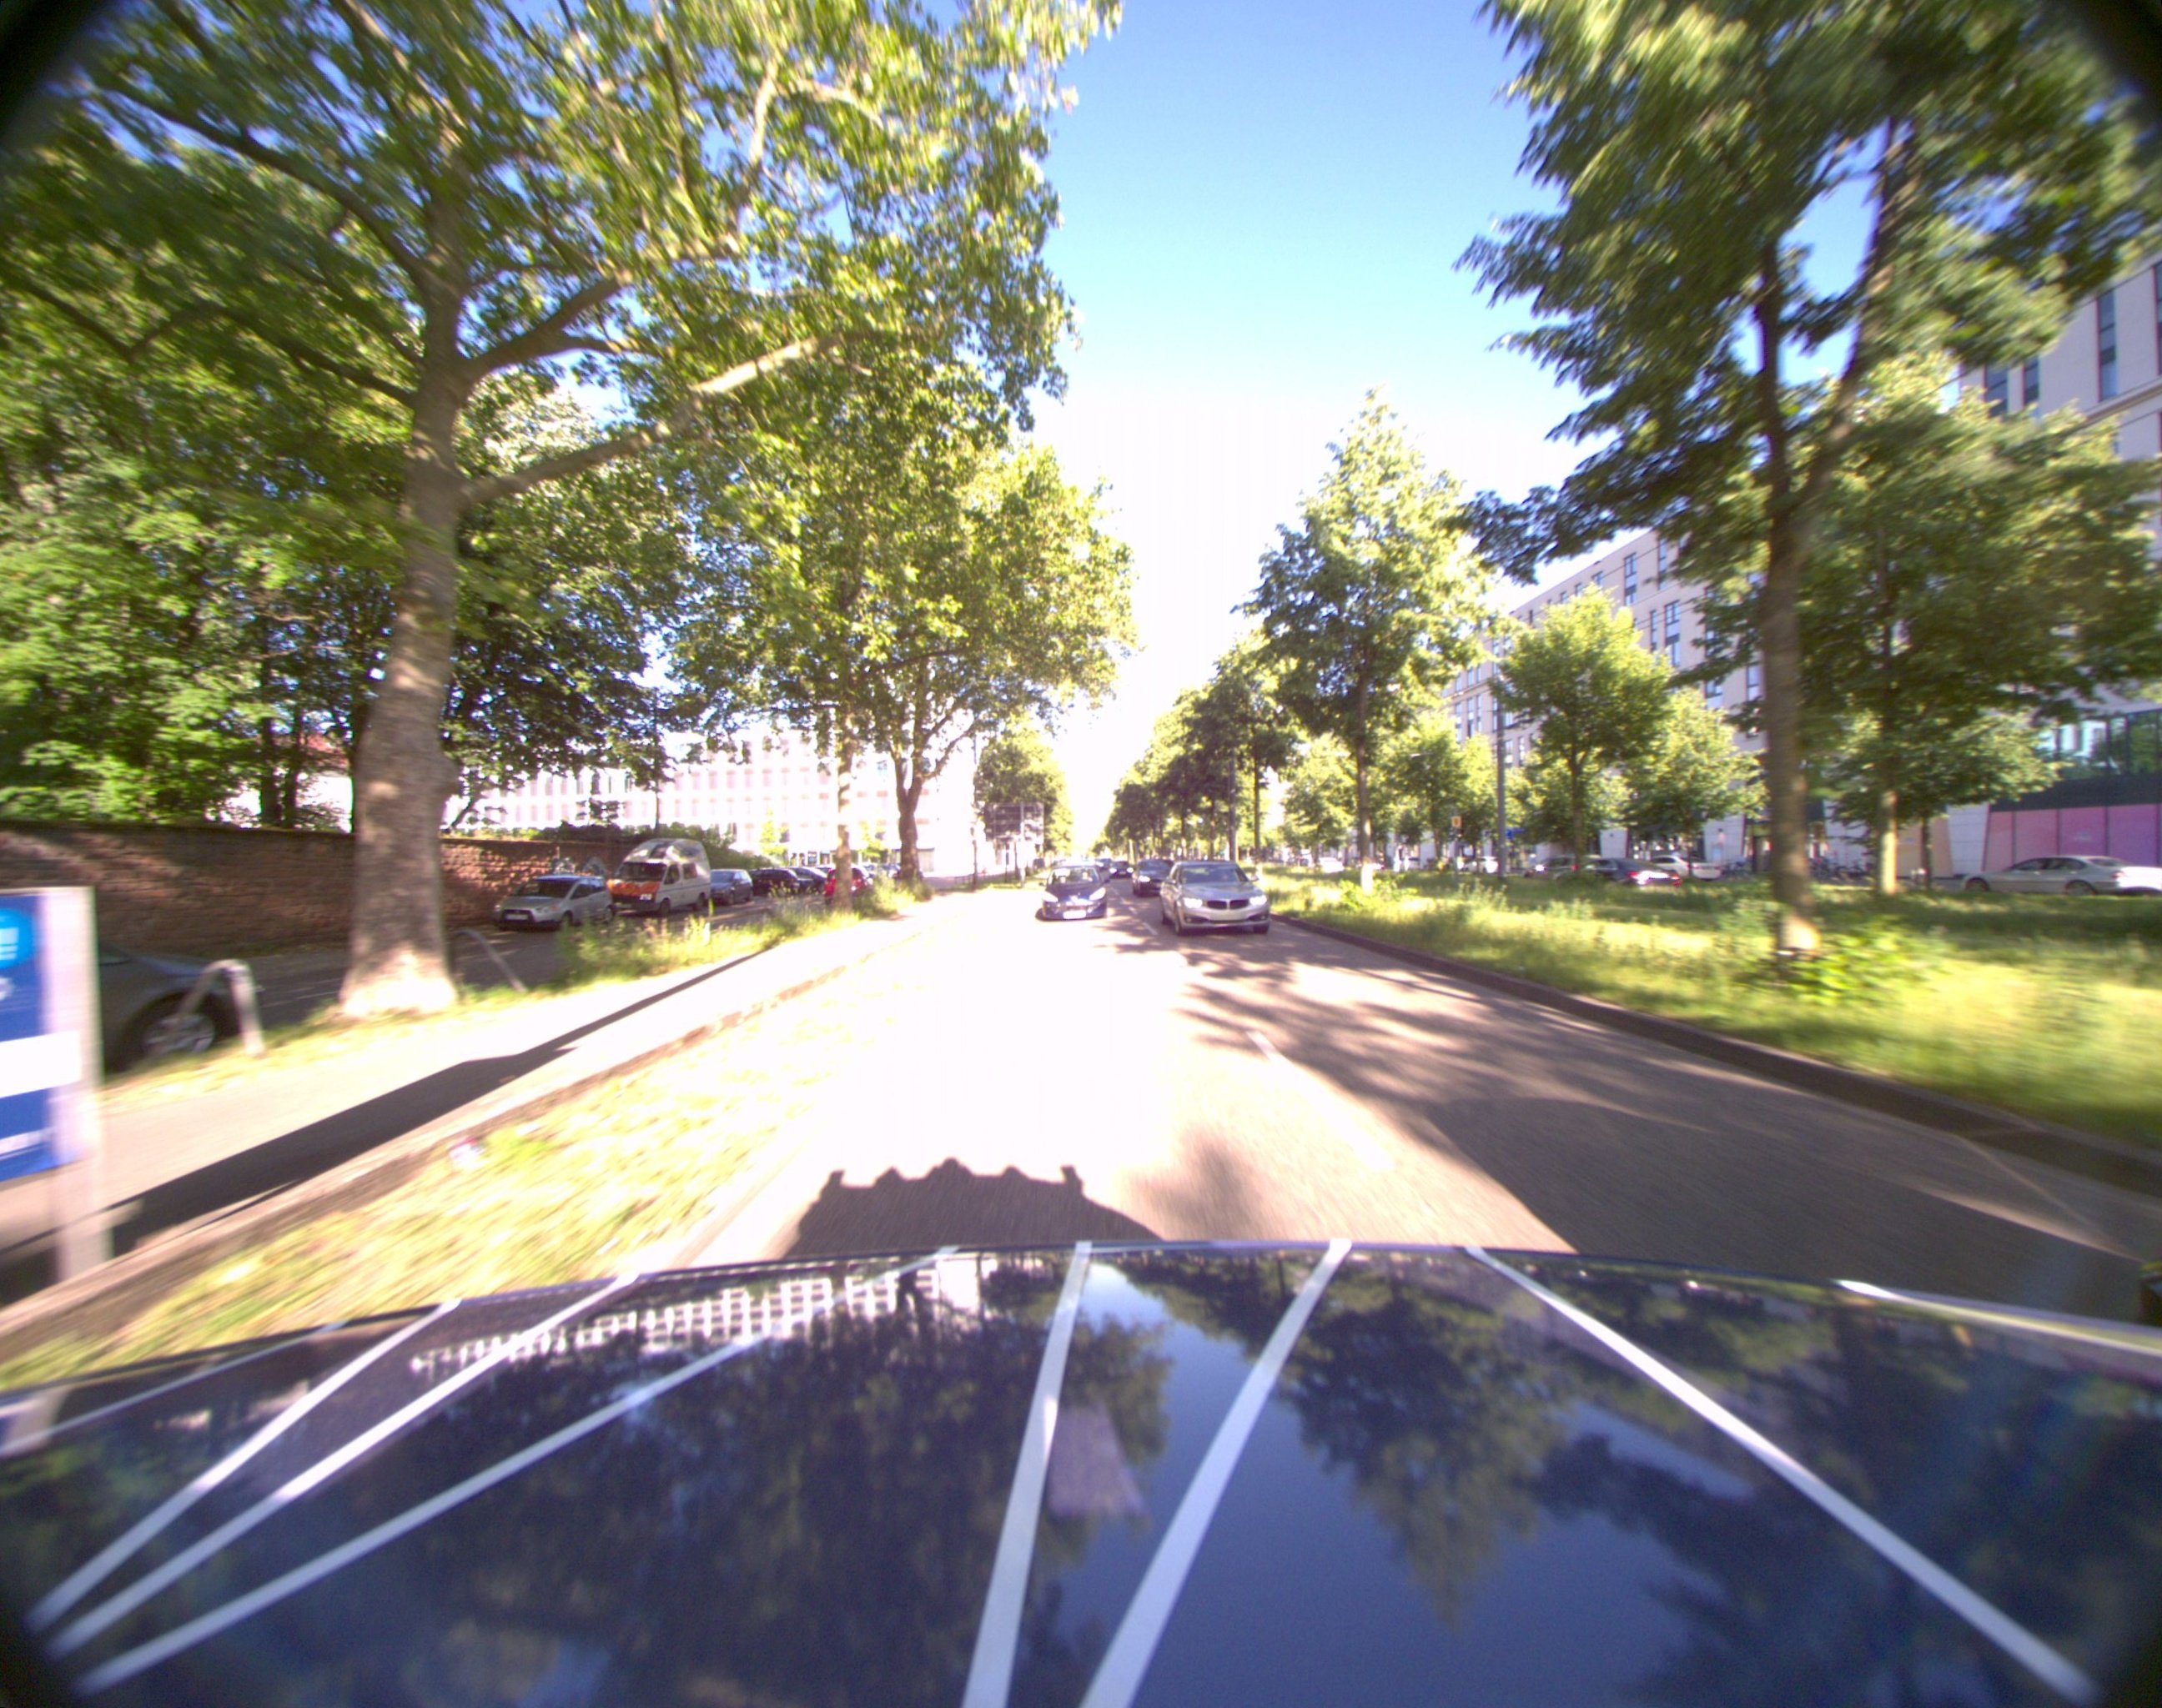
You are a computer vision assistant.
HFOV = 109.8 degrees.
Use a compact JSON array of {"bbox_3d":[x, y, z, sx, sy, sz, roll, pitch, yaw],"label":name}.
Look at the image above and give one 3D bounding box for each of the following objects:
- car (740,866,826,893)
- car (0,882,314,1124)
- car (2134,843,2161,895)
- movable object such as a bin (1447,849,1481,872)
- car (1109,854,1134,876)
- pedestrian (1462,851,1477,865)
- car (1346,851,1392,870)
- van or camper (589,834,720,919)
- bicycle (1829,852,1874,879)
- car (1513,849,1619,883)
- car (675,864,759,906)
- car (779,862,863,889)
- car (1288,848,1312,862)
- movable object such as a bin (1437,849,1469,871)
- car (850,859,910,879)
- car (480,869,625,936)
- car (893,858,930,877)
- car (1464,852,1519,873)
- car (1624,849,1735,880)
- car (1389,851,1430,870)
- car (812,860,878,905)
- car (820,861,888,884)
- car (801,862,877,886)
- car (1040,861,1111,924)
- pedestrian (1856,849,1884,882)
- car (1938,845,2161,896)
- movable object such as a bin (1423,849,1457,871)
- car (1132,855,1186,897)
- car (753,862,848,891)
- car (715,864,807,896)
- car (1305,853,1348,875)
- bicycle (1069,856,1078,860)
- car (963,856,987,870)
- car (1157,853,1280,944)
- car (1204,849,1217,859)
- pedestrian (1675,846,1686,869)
[{"bbox_3d":[-16.175,1.368,41.336,3.996,1.384,1.620,1,1,3],"label":"car"},{"bbox_3d":[-8.638,1.152,5.185,1.797,1.625,4.628,-2,1,5],"label":"car"},{"bbox_3d":[31.430,0.412,19.735,1.998,1.433,4.455,-2,1,0],"label":"car"},{"bbox_3d":[31.734,0.535,63.032,1.975,1.784,1.555,-3,1,-1],"label":"movable object such as a bin"},{"bbox_3d":[3.248,0.854,61.425,1.782,1.571,3.783,-2,1,1],"label":"car"},{"bbox_3d":[41.110,0.391,80.465,0.949,1.459,1.026,-3,1,-8],"label":"pedestrian"},{"bbox_3d":[23.879,0.526,63.219,1.998,1.433,5.110,-2,1,1],"label":"car"},{"bbox_3d":[-15.134,0.715,27.329,1.999,2.715,4.962,2,1,-2],"label":"van or camper"},{"bbox_3d":[39.144,0.575,38.615,0.599,1.273,1.608,-3,1,-1],"label":"bicycle"},{"bbox_3d":[23.247,0.545,36.667,1.999,1.433,4.701,-3,1,-1],"label":"car"},{"bbox_3d":[-15.459,1.279,32.473,2.000,1.565,3.997,2,0,-7],"label":"car"},{"bbox_3d":[-15.932,1.295,46.773,4.390,1.403,2.000,3,0,3],"label":"car"},{"bbox_3d":[32.399,0.181,112.576,1.999,2.002,4.553,-1,0,-2],"label":"car"},{"bbox_3d":[31.720,0.519,64.834,1.975,1.784,1.555,-3,1,-1],"label":"movable object such as a bin"},{"bbox_3d":[-15.275,1.146,57.961,4.089,1.459,1.715,1,1,2],"label":"car"},{"bbox_3d":[-15.006,1.315,21.874,1.846,1.608,3.996,3,0,-10],"label":"car"},{"bbox_3d":[-14.696,1.137,65.857,2.771,1.541,1.463,0,1,10],"label":"car"},{"bbox_3d":[31.946,0.633,59.291,1.999,1.433,4.018,-3,1,-1],"label":"car"},{"bbox_3d":[32.171,0.519,41.046,1.999,1.433,4.924,-3,1,-2],"label":"car"},{"bbox_3d":[32.346,0.601,74.899,1.999,1.719,4.337,-3,1,-2],"label":"car"},{"bbox_3d":[-9.798,1.112,31.831,2.000,1.630,3.996,-3,1,-9],"label":"car"},{"bbox_3d":[-15.737,1.264,52.833,4.202,1.490,1.782,0,0,-2],"label":"car"},{"bbox_3d":[-15.845,1.319,49.868,4.340,1.469,1.906,1,-1,-3],"label":"car"},{"bbox_3d":[-0.081,1.000,21.421,1.766,1.462,4.000,-2,1,2],"label":"car"},{"bbox_3d":[40.341,0.566,38.837,0.637,1.641,0.720,-3,1,-2],"label":"pedestrian"},{"bbox_3d":[31.717,0.467,24.795,1.999,1.433,4.778,-3,1,-2],"label":"car"},{"bbox_3d":[31.614,0.504,66.891,1.975,1.784,2.010,-3,1,-2],"label":"movable object such as a bin"},{"bbox_3d":[3.154,0.850,31.360,1.950,1.513,4.000,-2,1,3],"label":"car"},{"bbox_3d":[-16.124,1.267,43.839,4.731,1.398,2.000,2,0,1],"label":"car"},{"bbox_3d":[-16.434,1.338,39.172,3.998,1.496,1.765,-1,0,-2],"label":"car"},{"bbox_3d":[20.787,0.799,64.566,1.998,1.676,5.110,-2,1,0],"label":"car"},{"bbox_3d":[-1.632,0.797,159.642,1.927,0.899,0.647,-1,0,3],"label":"bicycle"},{"bbox_3d":[-12.848,1.076,92.123,1.998,1.477,4.403,2,1,3],"label":"car"},{"bbox_3d":[2.776,0.833,16.350,1.886,1.569,4.277,-2,1,1],"label":"car"},{"bbox_3d":[26.047,-0.050,152.874,1.998,2.002,4.000,-2,1,3],"label":"car"},{"bbox_3d":[40.606,0.256,51.474,0.501,1.540,0.523,-1,1,43],"label":"pedestrian"}]
